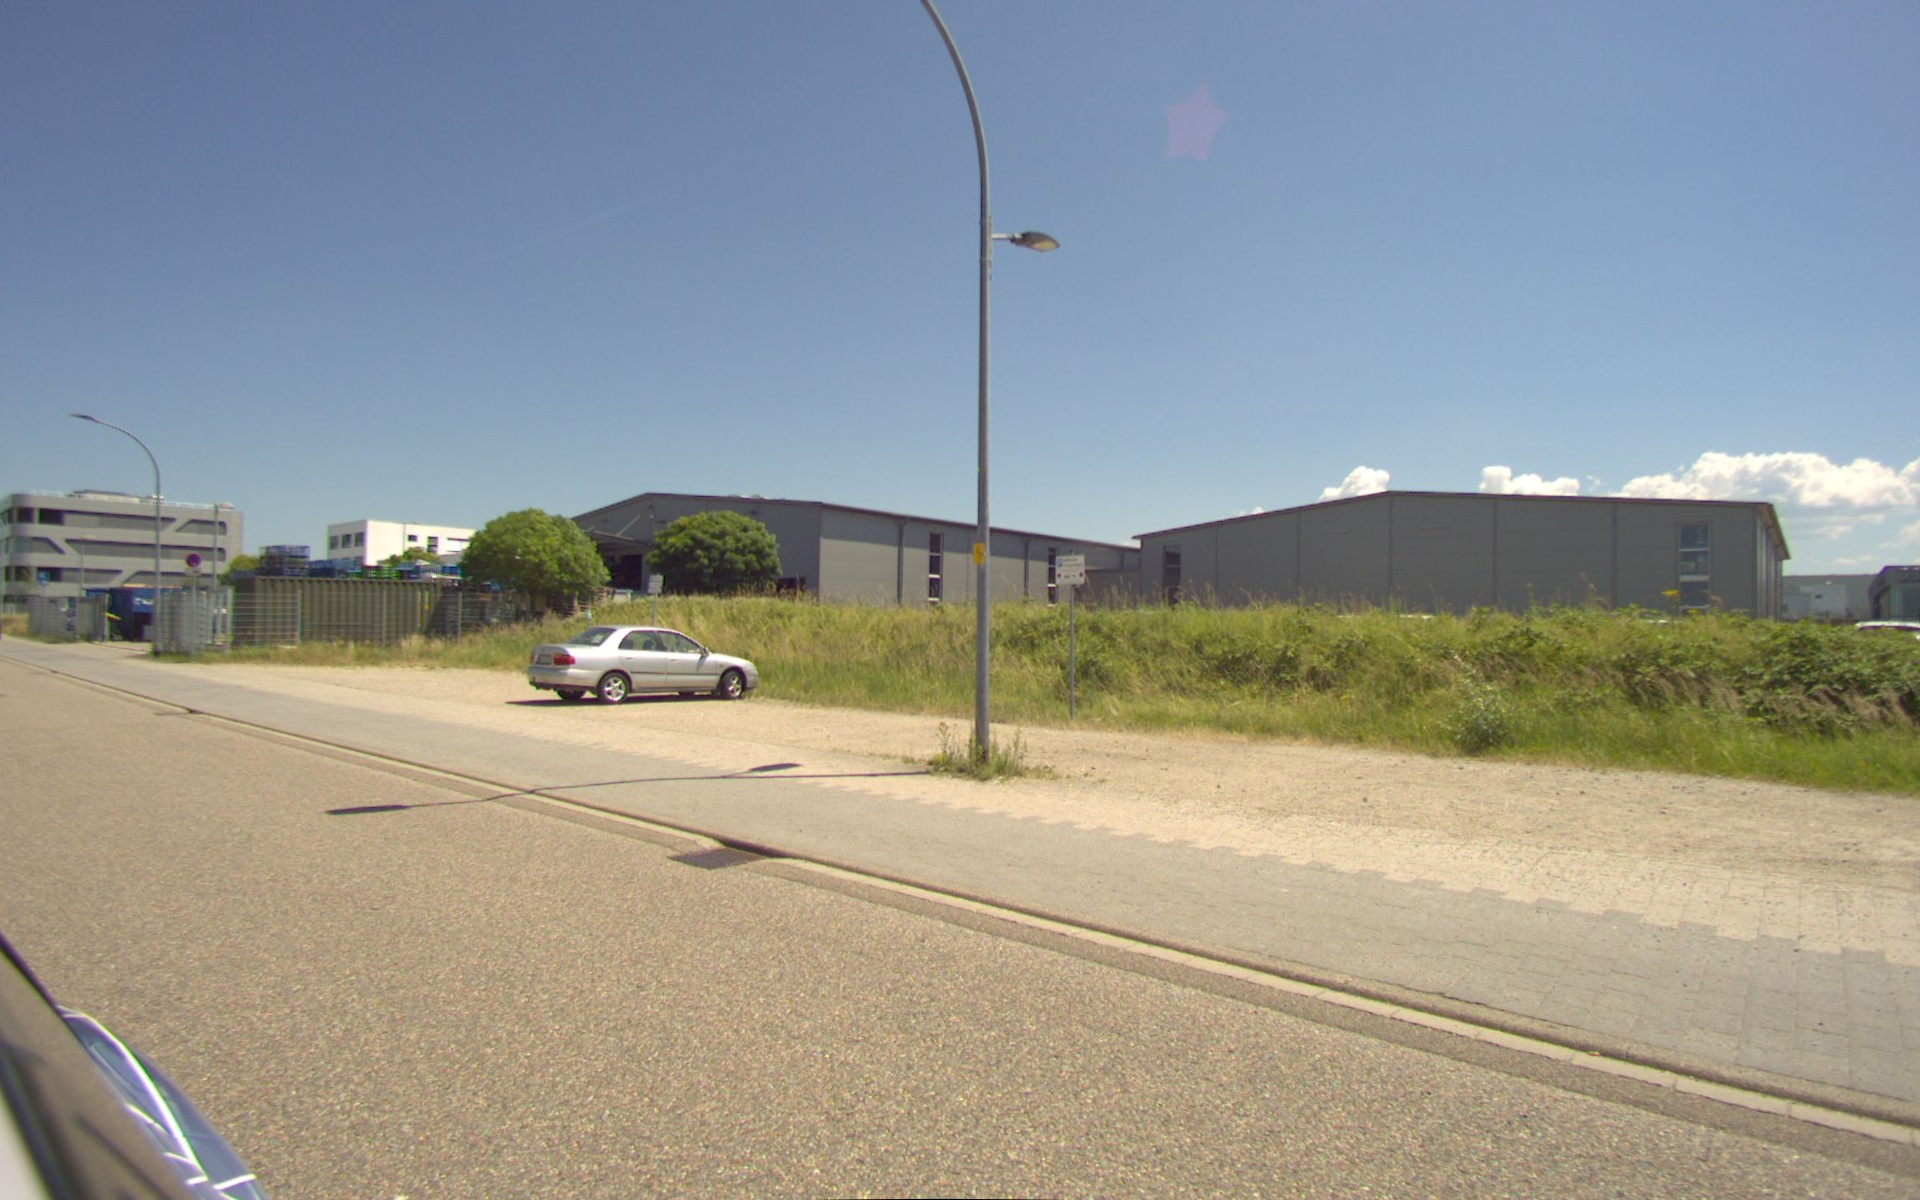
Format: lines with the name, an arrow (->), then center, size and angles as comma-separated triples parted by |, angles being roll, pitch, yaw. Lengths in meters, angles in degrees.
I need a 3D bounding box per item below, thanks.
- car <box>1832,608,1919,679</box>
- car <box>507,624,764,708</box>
car -> 20.820, 0.912, 22.799 | 1.737, 1.408, 3.840 | 0, 0, 40
car -> -5.958, 1.178, 18.954 | 1.862, 1.390, 4.201 | -1, -3, 42
